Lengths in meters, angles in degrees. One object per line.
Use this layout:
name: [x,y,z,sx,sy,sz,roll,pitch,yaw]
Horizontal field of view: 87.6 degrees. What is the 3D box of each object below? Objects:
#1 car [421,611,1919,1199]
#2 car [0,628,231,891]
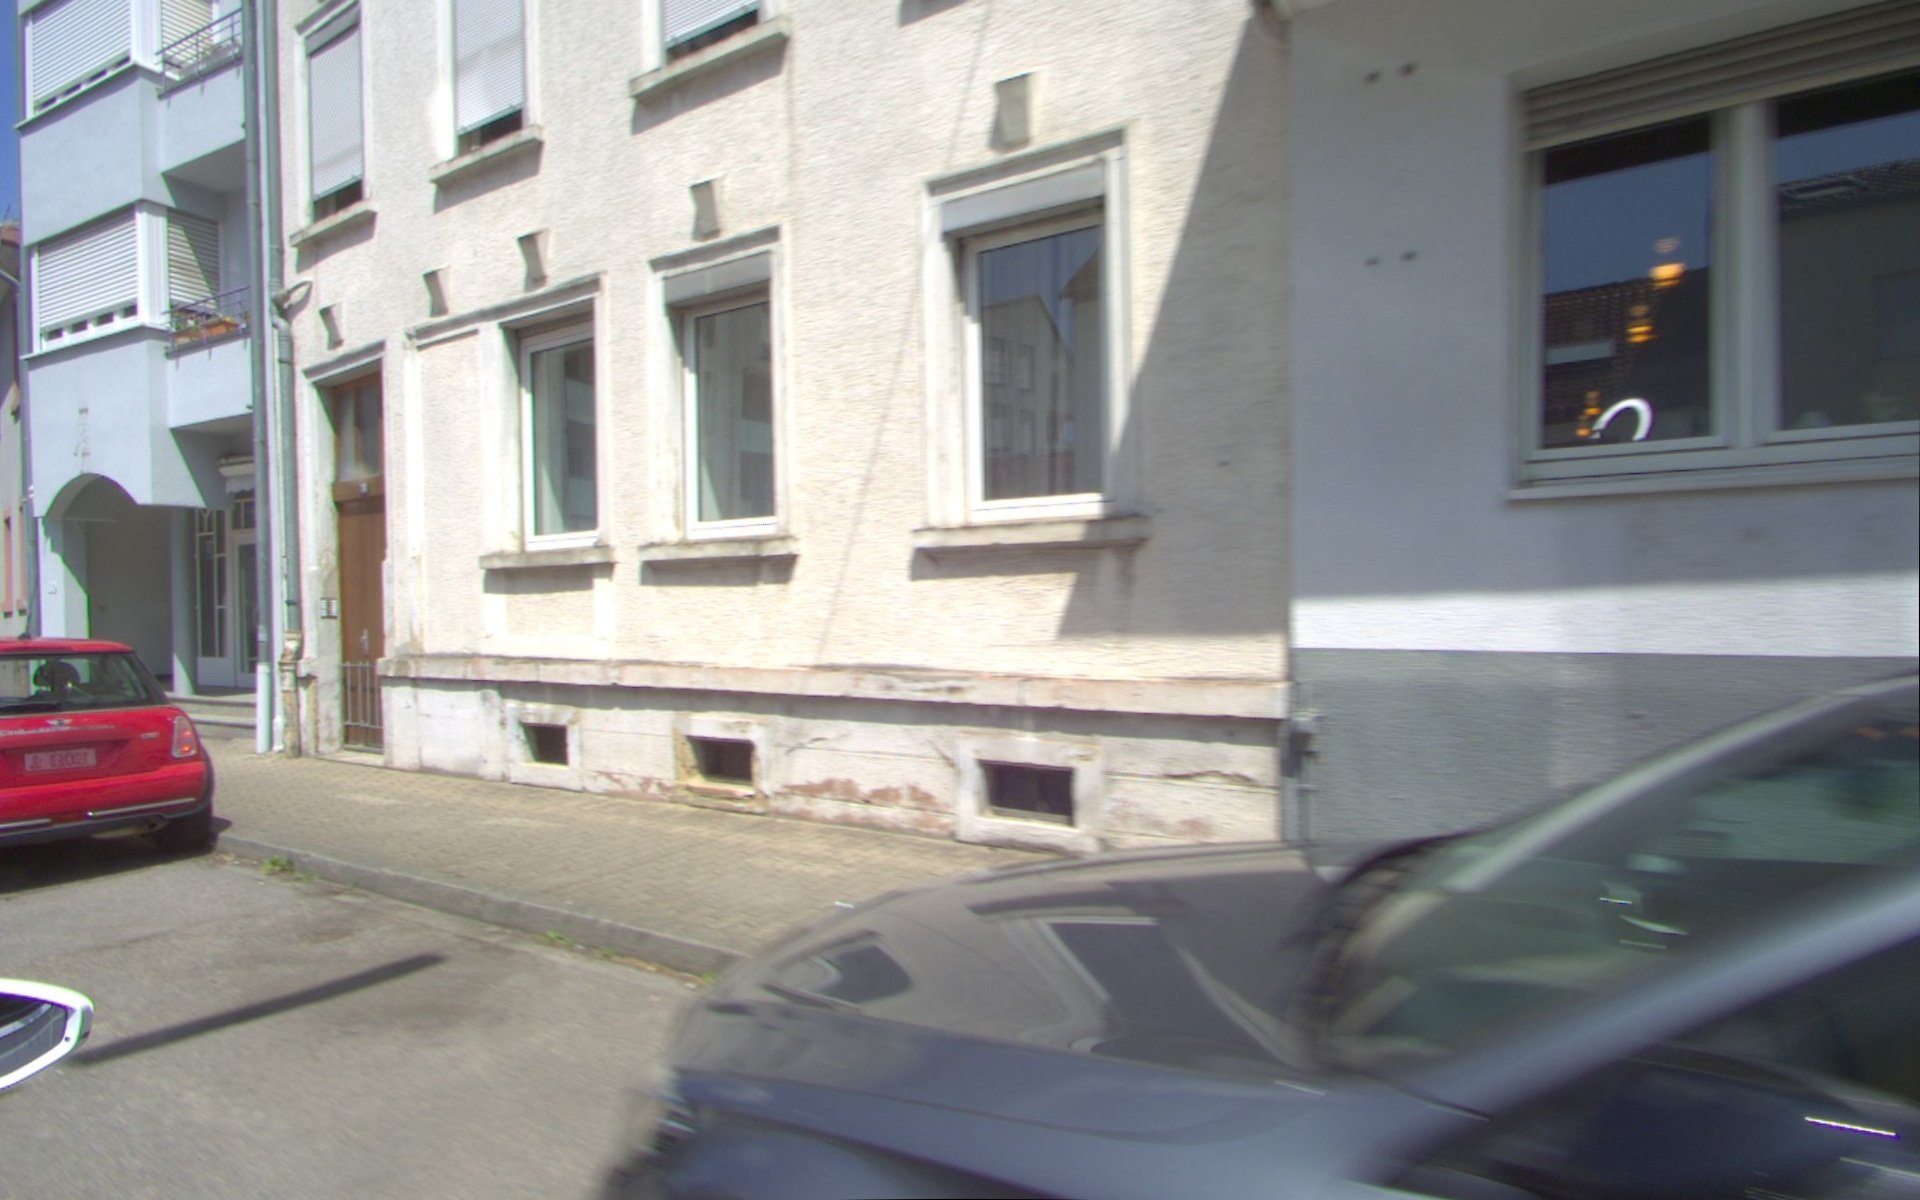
car: [1.499,0.743,1.203,4.478,1.439,1.726,-1,0,31]
car: [-6.603,0.914,6.648,3.486,1.404,1.616,-1,0,31]
